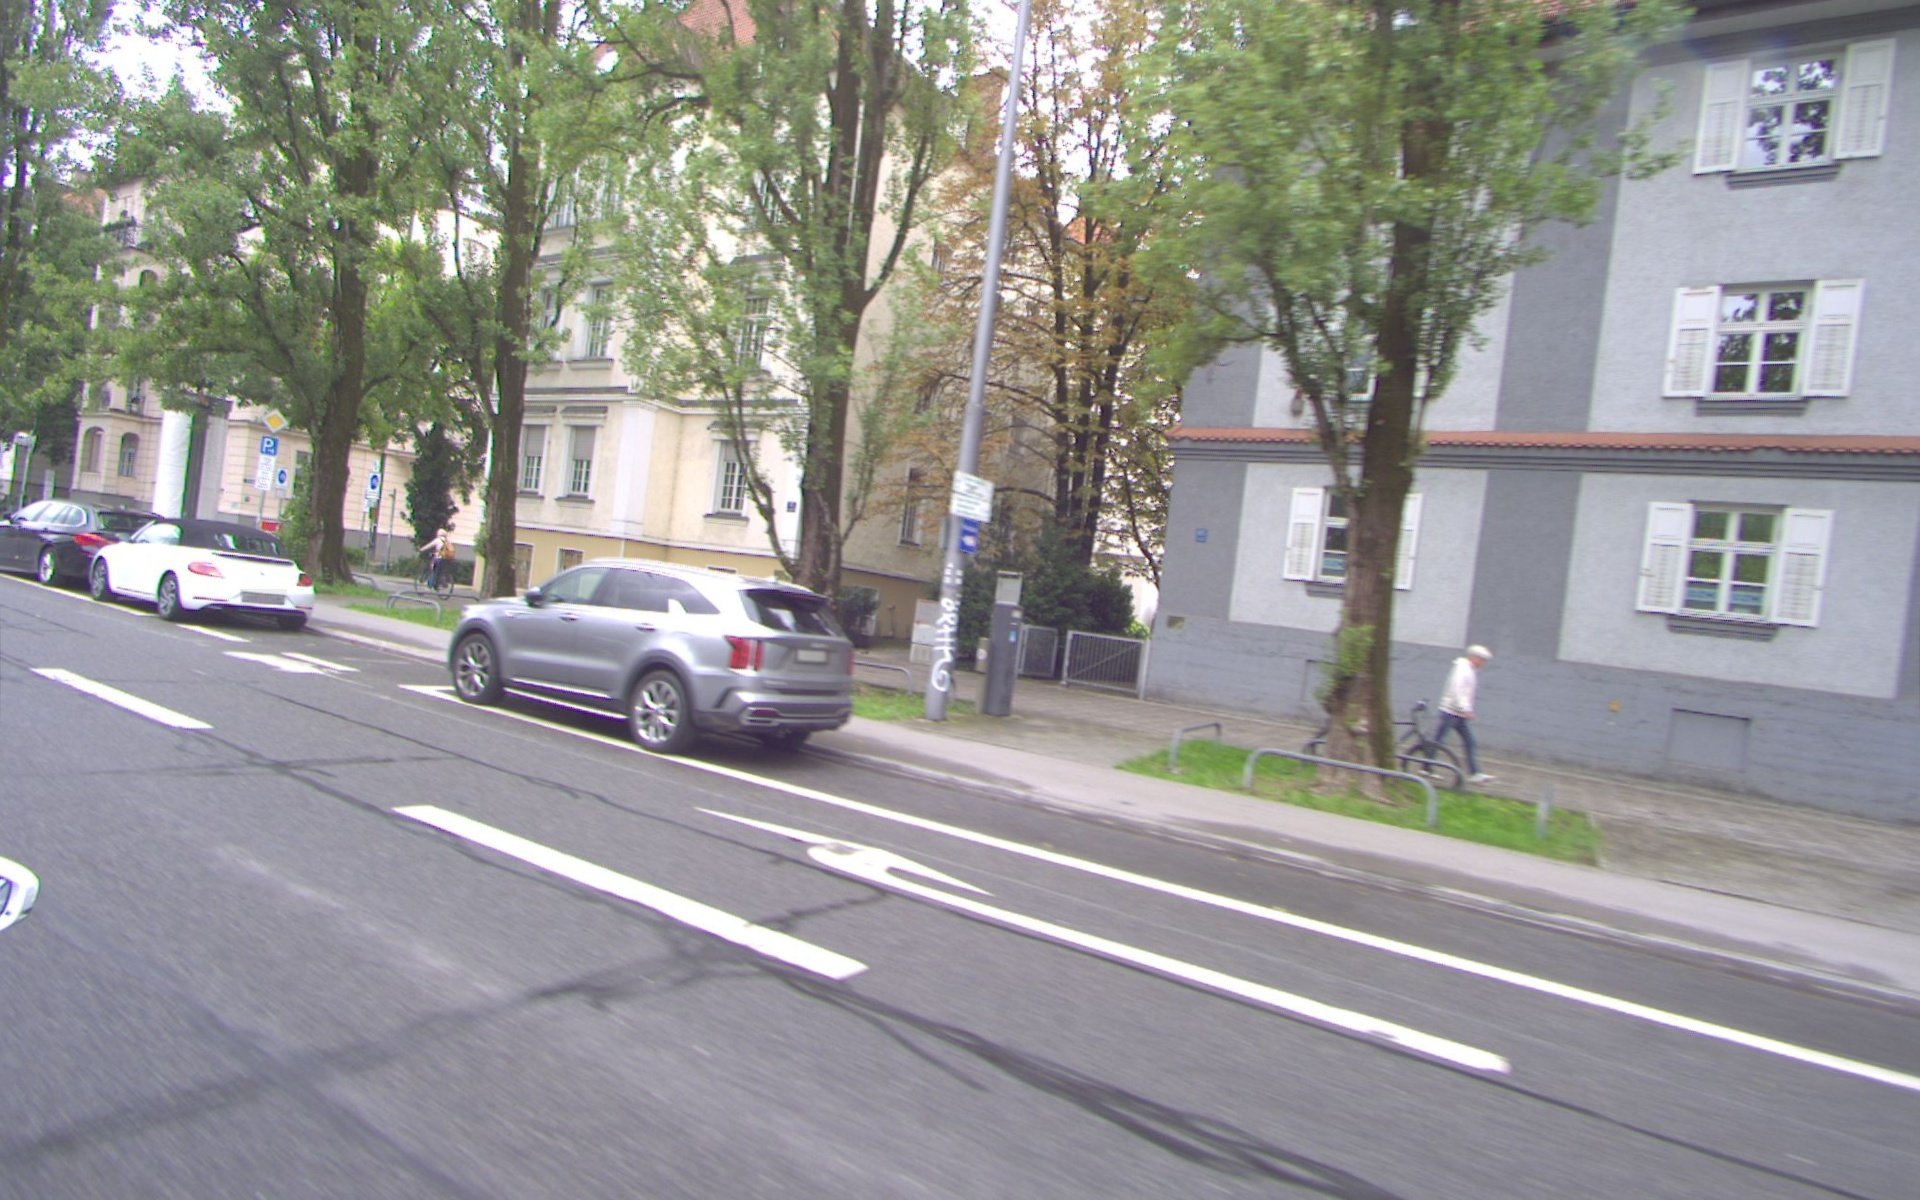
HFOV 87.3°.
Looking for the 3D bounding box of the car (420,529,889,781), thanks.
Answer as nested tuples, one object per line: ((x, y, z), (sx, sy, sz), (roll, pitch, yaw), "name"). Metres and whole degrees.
((-3.219, 0.434, 10.286), (4.621, 1.764, 1.802), (7, 1, 30), "car")

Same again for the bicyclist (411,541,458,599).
((-13.198, -0.751, 25.246), (0.694, 1.331, 0.661), (8, 1, 30), "bicyclist")

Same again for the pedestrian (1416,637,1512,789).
((6.453, 1.428, 12.873), (0.810, 1.760, 0.592), (10, 2, 32), "pedestrian")

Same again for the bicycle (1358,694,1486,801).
((5.455, 1.719, 11.900), (1.207, 1.000, 0.355), (10, 2, 32), "bicycle")

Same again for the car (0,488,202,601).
((-15.825, -1.047, 18.066), (4.373, 1.526, 1.803), (7, 0, 29), "car")

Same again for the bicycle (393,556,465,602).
((-13.386, -0.533, 25.340), (1.870, 0.934, 0.653), (7, 1, 30), "bicycle")

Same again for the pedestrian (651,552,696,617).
((-7.415, -0.395, 26.047), (0.726, 1.566, 0.553), (10, 2, 30), "pedestrian")

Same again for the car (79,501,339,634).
((-11.630, -0.523, 15.529), (3.933, 1.526, 1.802), (7, 0, 32), "car")
